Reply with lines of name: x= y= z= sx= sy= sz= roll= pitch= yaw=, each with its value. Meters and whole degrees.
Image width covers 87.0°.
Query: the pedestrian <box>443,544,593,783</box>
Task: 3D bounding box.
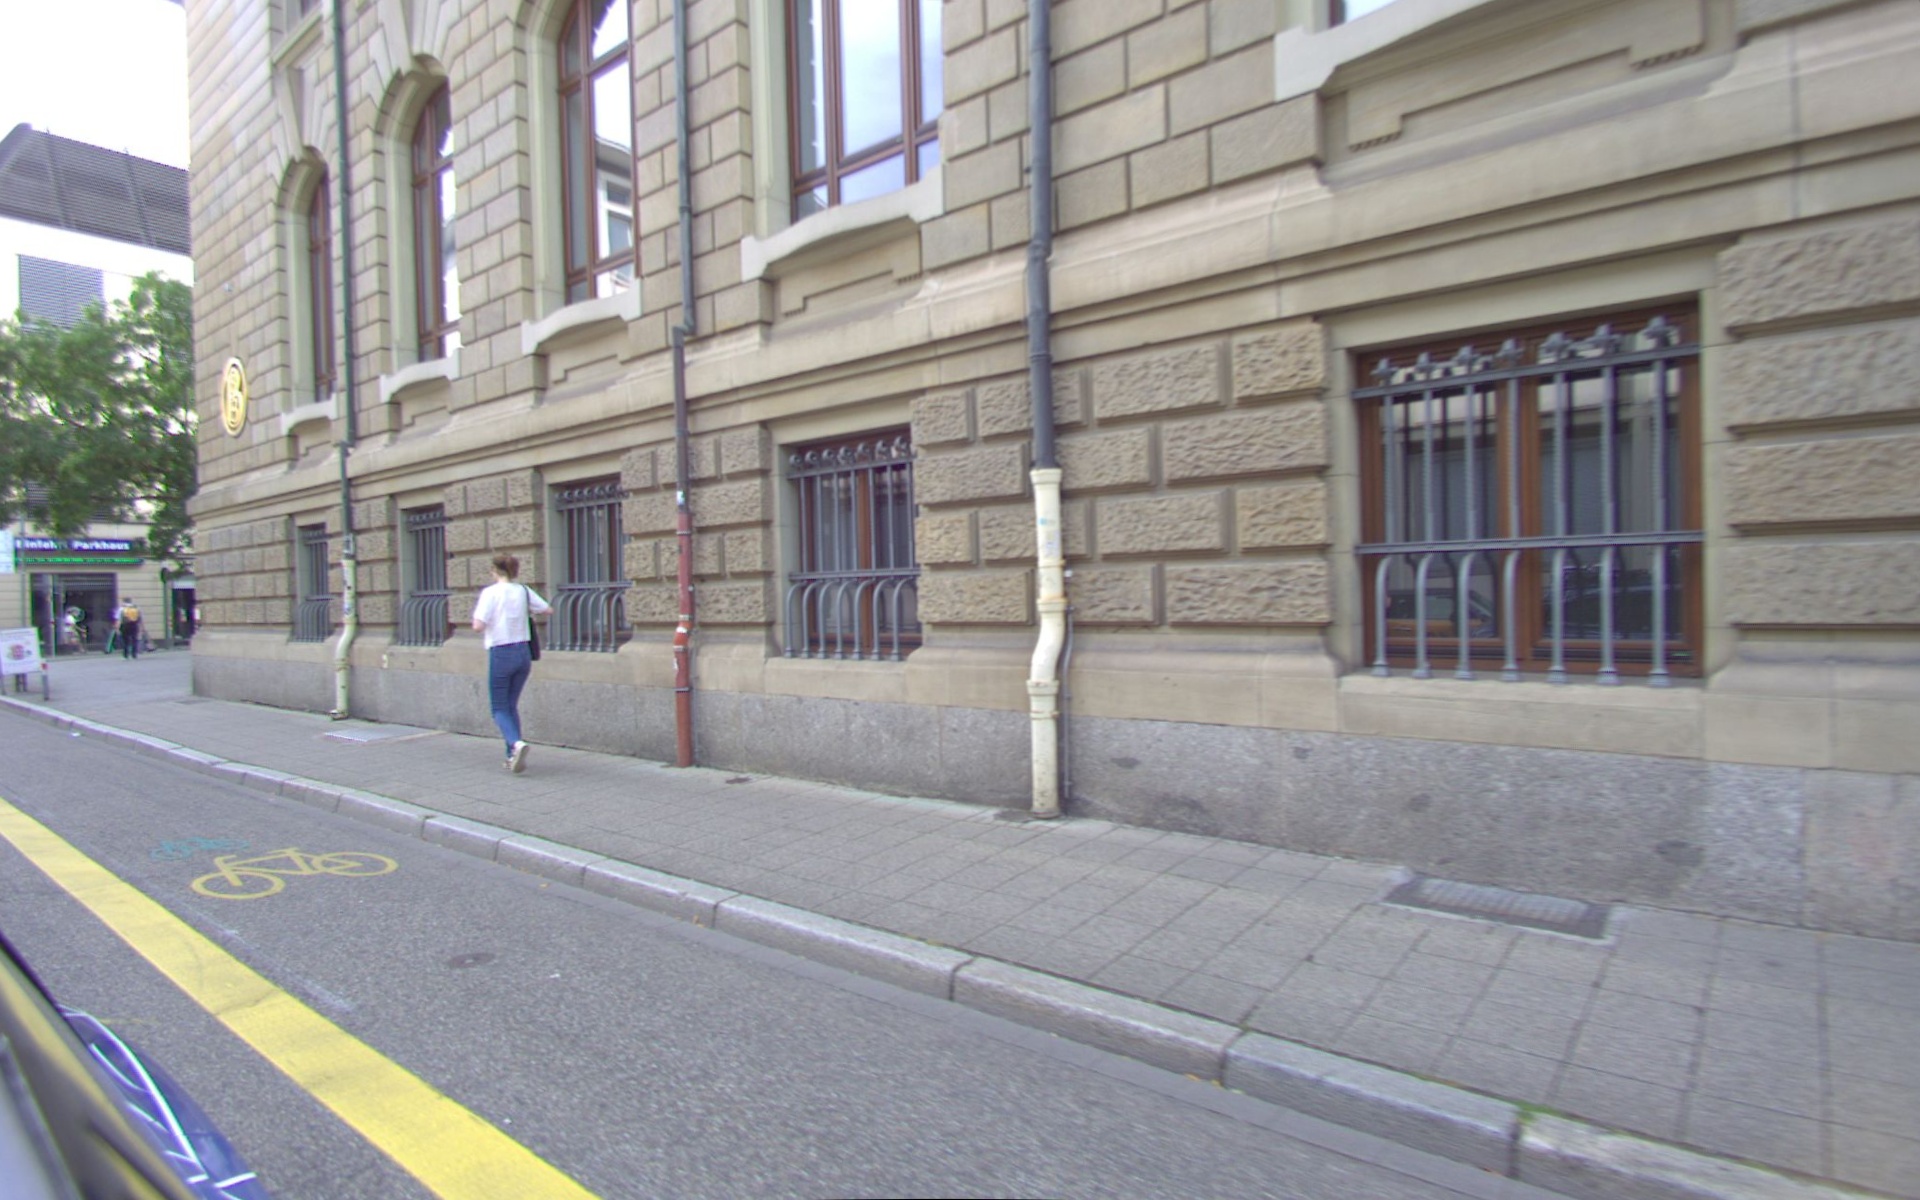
pedestrian: x=-3.646 y=0.482 z=8.340 sx=1.047 sy=1.833 sz=0.657 roll=-1 pitch=2 yaw=39

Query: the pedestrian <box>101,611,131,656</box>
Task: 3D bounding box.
pedestrian: x=-35.212 y=1.408 z=42.237 sx=0.857 sy=1.844 sz=0.642 roll=-1 pitch=0 yaw=26

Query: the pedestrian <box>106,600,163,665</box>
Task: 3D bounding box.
pedestrian: x=-23.207 y=0.908 z=28.441 sx=0.818 sy=1.732 sz=1.016 roll=-1 pitch=3 yaw=39

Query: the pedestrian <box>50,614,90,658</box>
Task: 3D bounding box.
pedestrian: x=-37.562 y=1.498 z=42.727 sx=0.890 sy=1.778 sz=1.049 roll=0 pitch=1 yaw=32
